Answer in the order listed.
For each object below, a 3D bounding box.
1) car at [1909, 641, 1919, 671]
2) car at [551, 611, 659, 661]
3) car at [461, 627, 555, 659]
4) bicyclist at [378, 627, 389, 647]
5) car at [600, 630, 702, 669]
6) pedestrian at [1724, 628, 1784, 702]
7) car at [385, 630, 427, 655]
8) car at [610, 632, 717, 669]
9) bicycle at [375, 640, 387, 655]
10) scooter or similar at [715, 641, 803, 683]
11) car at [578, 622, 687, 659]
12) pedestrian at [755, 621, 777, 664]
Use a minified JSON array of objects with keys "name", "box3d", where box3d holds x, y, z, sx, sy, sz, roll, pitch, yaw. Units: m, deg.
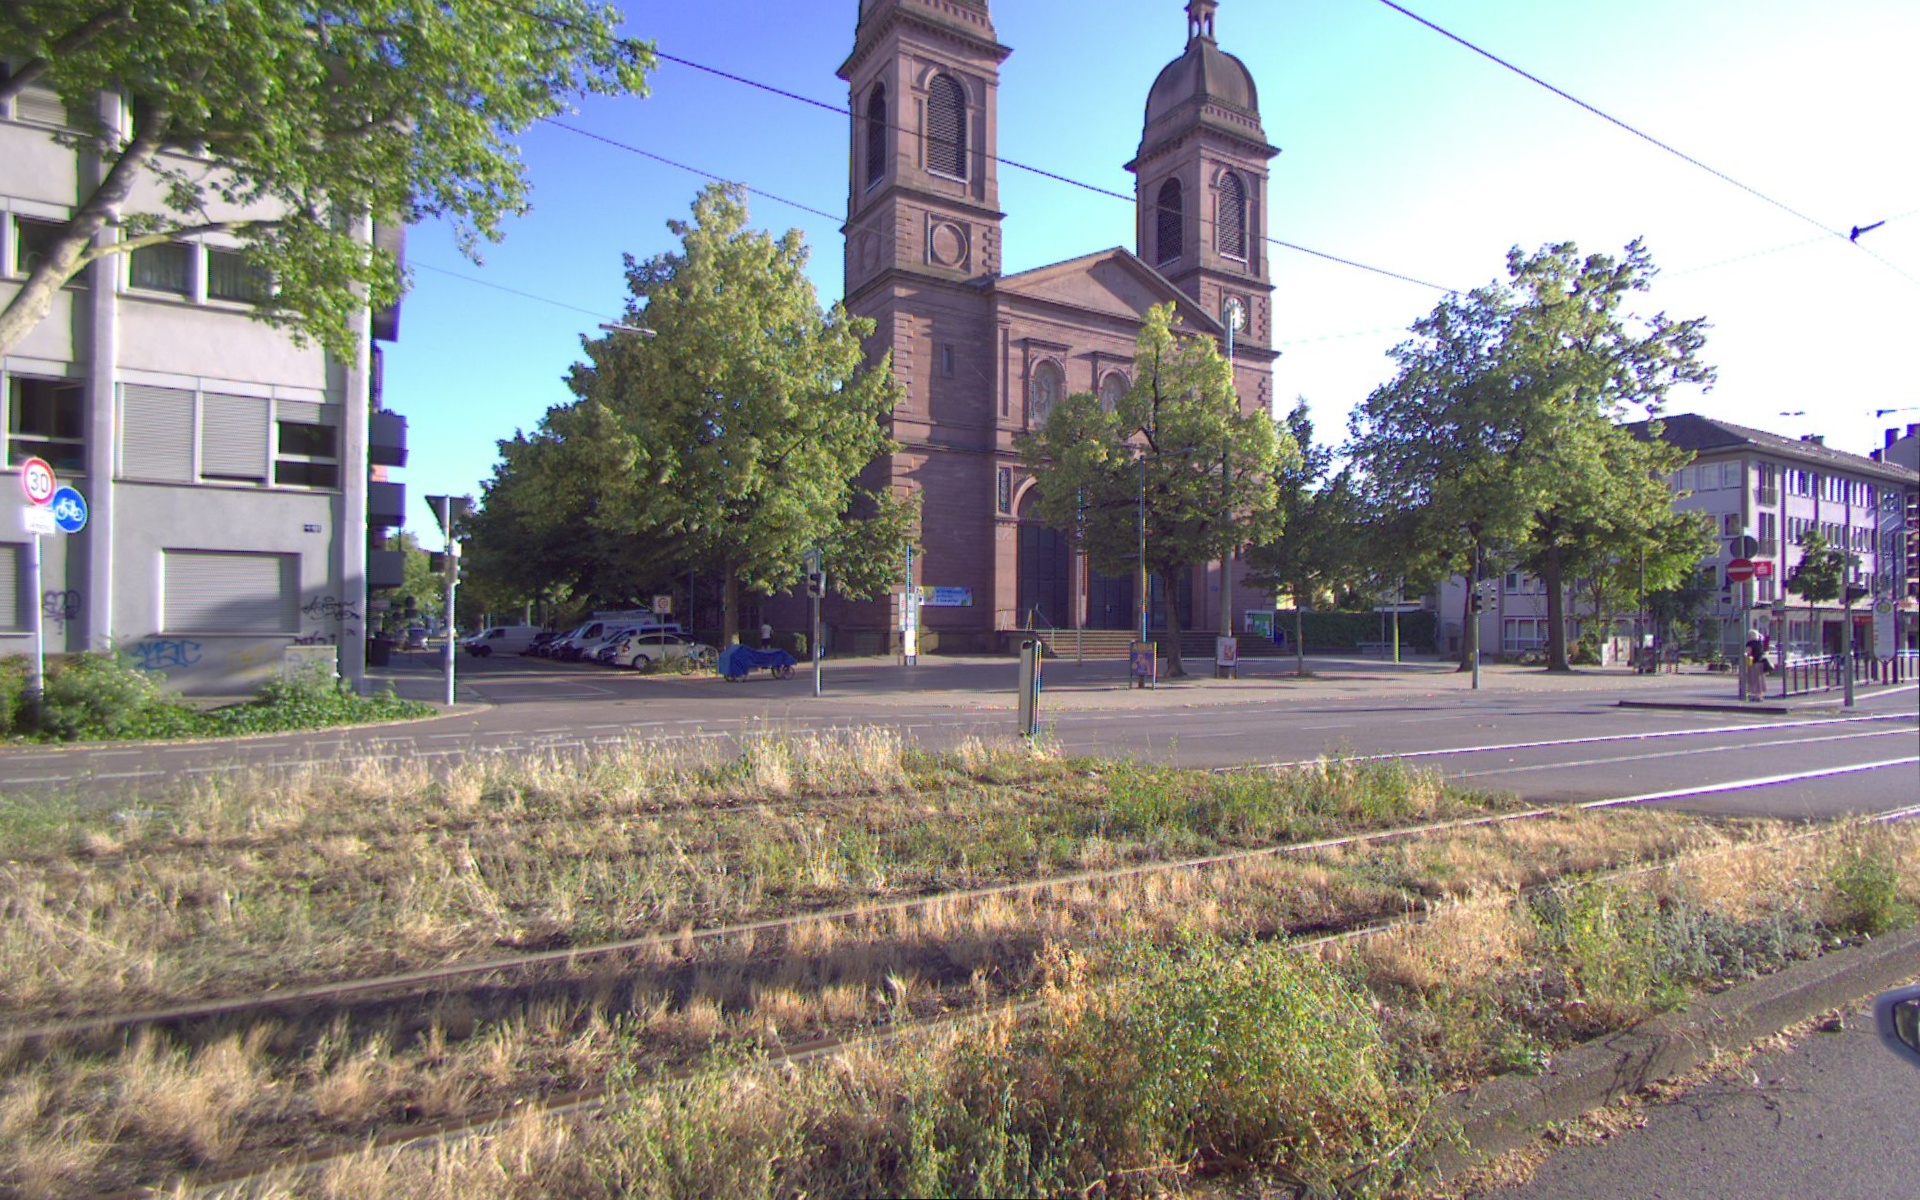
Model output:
[{"name":"car","box3d":[57.119,3.244,57.683,3.439,1.702,1.772,0,-1,7]},{"name":"car","box3d":[-18.677,1.888,52.878,5.054,2.551,1.984,1,-2,-30]},{"name":"car","box3d":[-29.810,2.807,66.358,5.382,2.040,1.977,2,-2,-40]},{"name":"bicyclist","box3d":[-39.209,2.523,68.325,0.625,1.348,0.962,1,-2,-29]},{"name":"car","box3d":[-13.513,2.146,43.942,3.953,1.639,1.876,1,-2,-30]},{"name":"pedestrian","box3d":[19.740,1.596,24.983,0.822,1.783,0.915,2,-2,-29]},{"name":"car","box3d":[-47.132,3.575,85.423,1.985,2.040,5.360,2,-2,-41]},{"name":"car","box3d":[-12.277,2.048,41.666,3.953,1.416,1.802,1,-1,-30]},{"name":"bicycle","box3d":[-39.359,3.232,68.284,0.625,0.993,1.974,1,-2,-29]},{"name":"scooter or similar","box3d":[-6.130,1.866,30.662,2.419,1.141,1.088,-1,0,-30]},{"name":"car","box3d":[-15.679,1.925,48.148,4.655,1.684,1.984,1,-2,-30]},{"name":"pedestrian","box3d":[-8.184,1.798,42.453,0.684,1.789,0.733,1,-1,-31]}]
